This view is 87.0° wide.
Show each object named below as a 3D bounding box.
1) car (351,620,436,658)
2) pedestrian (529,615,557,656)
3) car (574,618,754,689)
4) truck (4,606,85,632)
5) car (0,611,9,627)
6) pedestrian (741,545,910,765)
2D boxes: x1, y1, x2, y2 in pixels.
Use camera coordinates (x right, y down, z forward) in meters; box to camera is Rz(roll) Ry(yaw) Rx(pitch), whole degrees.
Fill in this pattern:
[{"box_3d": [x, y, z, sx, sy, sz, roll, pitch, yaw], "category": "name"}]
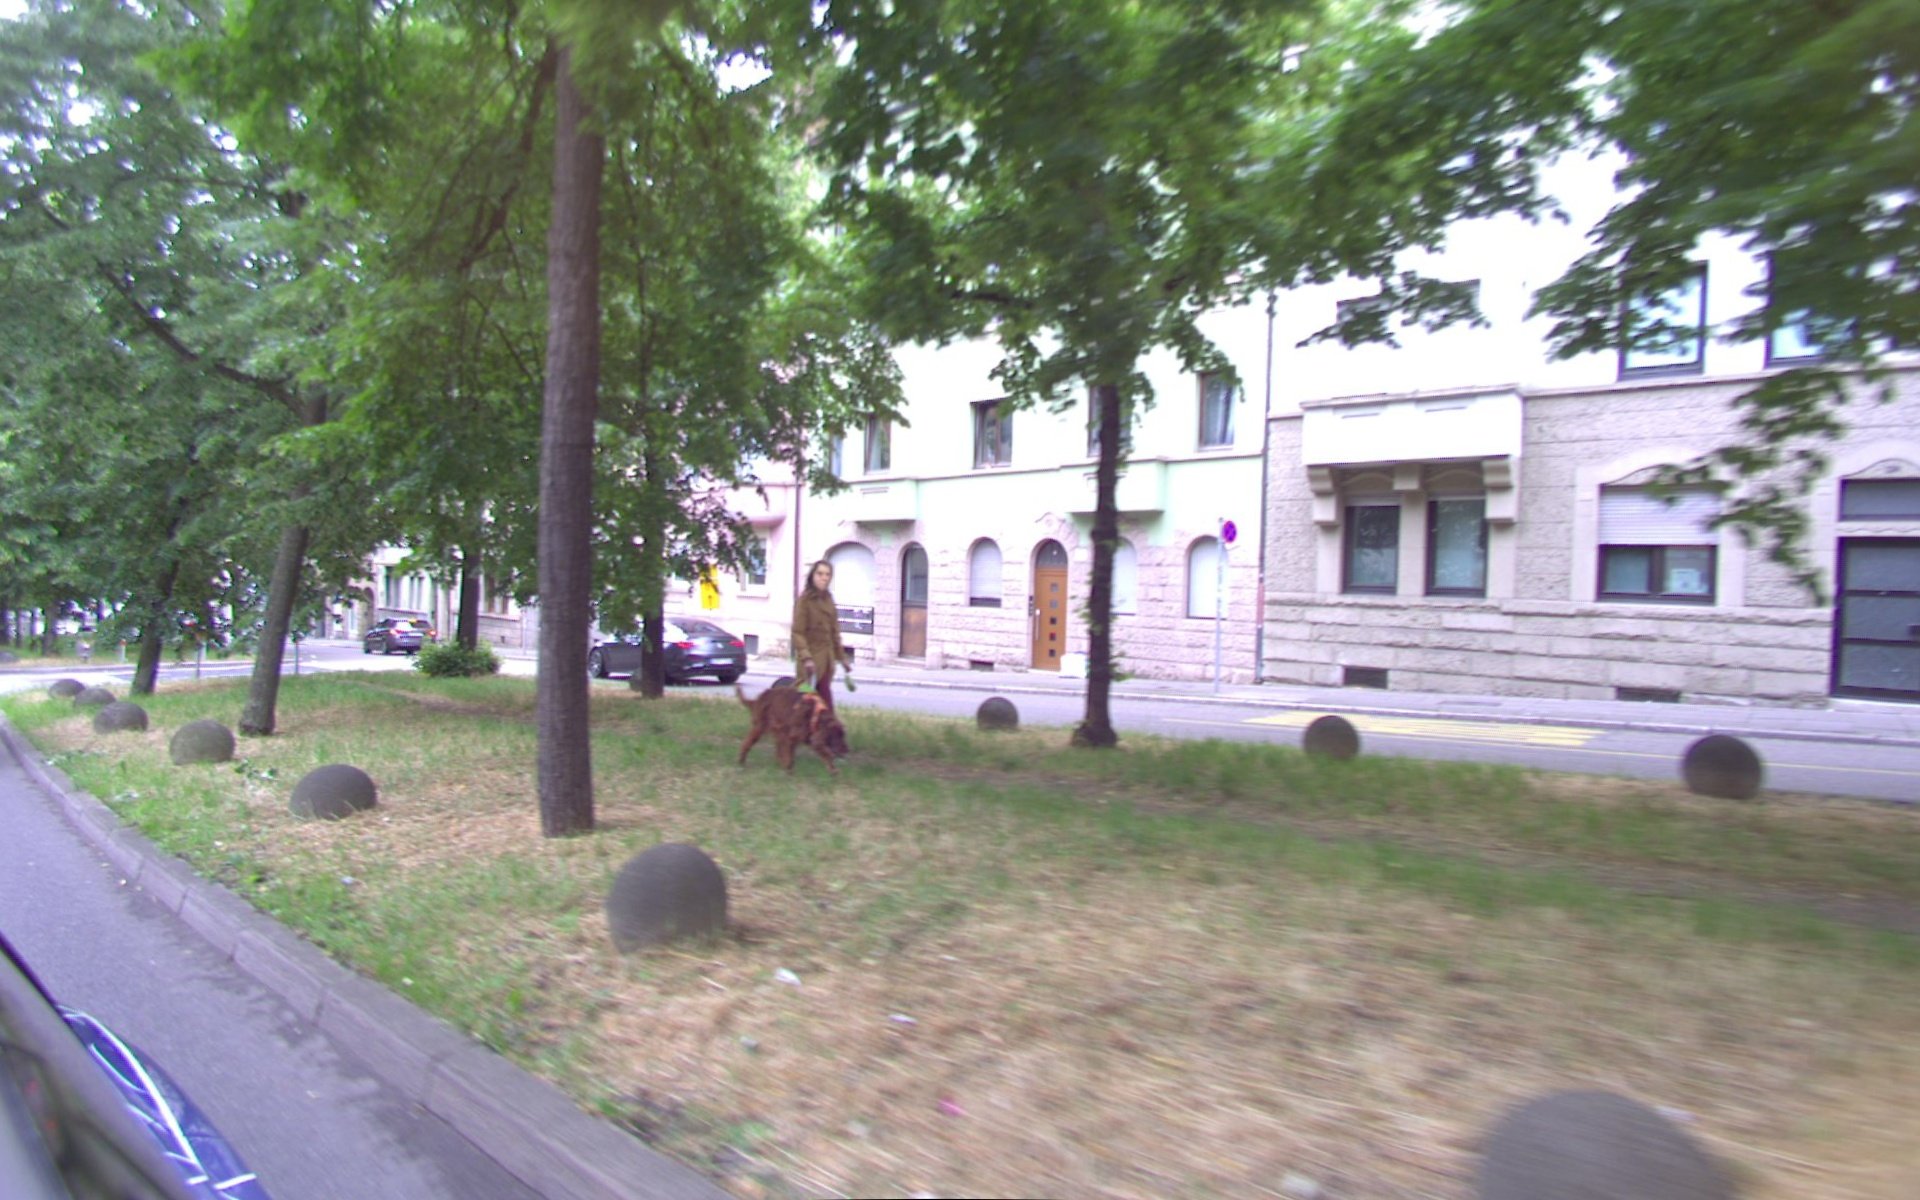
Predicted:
[{"box_3d": [-22.312, 1.532, 39.785, 4.670, 1.393, 1.689, -3, -3, 44], "category": "car"}, {"box_3d": [-15.347, 1.307, 37.238, 0.704, 1.471, 0.691, -2, -1, 44], "category": "pedestrian"}, {"box_3d": [-6.553, 1.135, 22.114, 4.670, 1.393, 1.738, -3, -3, 44], "category": "car"}, {"box_3d": [-103.257, 2.142, 114.266, 2.741, 2.744, 6.437, -1, -1, 9], "category": "truck"}, {"box_3d": [-102.051, 2.032, 105.974, 2.174, 1.583, 4.493, 0, 2, -24], "category": "car"}, {"box_3d": [-1.154, 0.442, 8.620, 1.123, 1.725, 0.824, 1, -2, 44], "category": "pedestrian"}]
